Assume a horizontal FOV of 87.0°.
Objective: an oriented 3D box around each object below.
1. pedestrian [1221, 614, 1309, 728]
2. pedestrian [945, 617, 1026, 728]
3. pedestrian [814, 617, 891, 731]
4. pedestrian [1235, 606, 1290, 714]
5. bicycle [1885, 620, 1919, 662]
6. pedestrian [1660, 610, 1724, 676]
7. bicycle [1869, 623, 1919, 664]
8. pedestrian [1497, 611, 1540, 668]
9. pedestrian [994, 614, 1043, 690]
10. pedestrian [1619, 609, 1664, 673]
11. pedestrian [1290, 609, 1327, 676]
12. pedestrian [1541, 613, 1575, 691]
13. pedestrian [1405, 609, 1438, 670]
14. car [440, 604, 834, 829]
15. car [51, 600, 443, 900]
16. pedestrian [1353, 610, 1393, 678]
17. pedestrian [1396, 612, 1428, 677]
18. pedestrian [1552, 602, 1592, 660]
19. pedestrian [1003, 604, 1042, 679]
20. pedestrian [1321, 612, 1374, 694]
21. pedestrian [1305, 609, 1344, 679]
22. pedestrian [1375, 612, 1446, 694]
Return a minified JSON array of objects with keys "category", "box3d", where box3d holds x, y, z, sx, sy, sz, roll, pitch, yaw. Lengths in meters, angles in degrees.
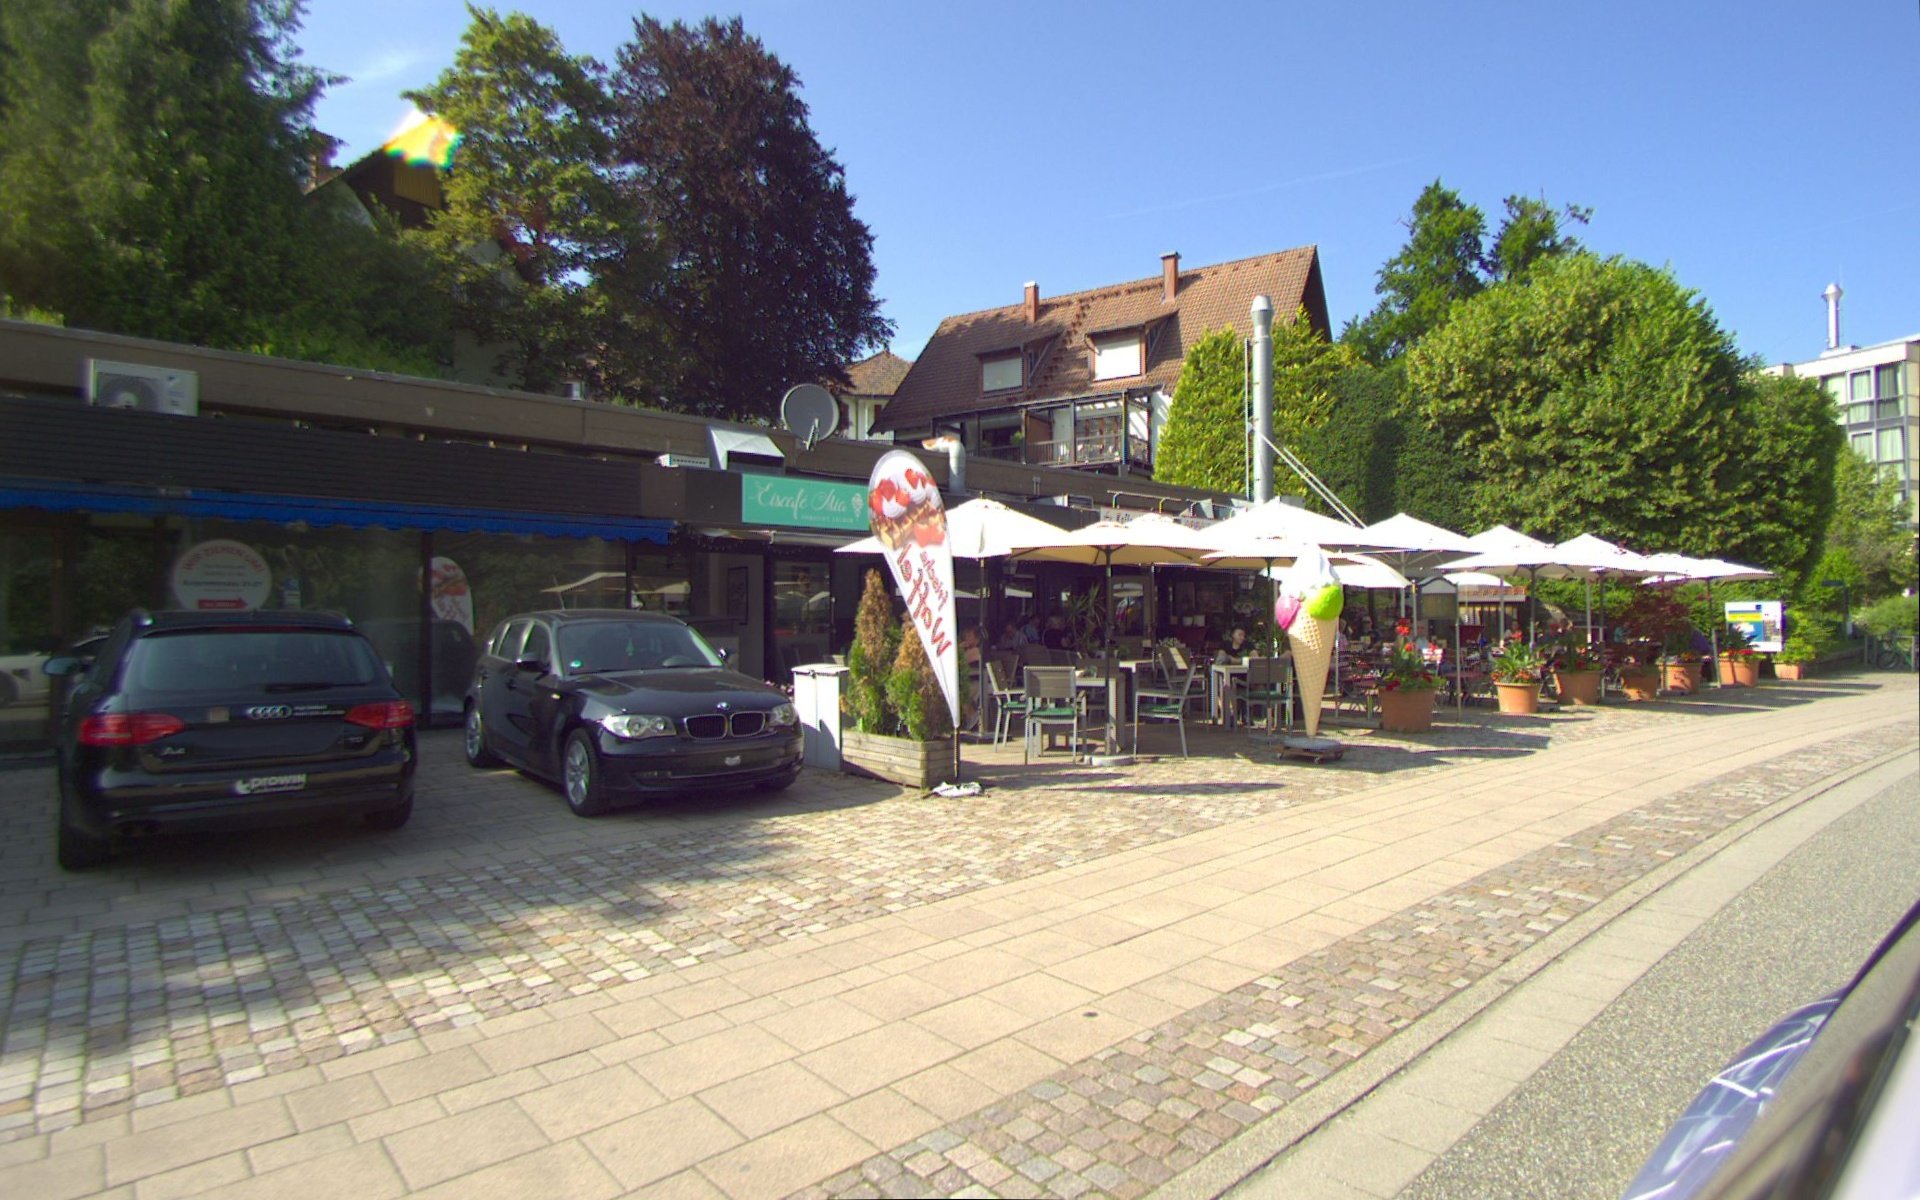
[{"category":"pedestrian","box3d":[3.649,0.818,12.101,0.808,1.277,0.690,0,-1,40]},{"category":"pedestrian","box3d":[0.296,0.850,12.213,0.795,1.277,0.702,1,-1,-15]},{"category":"pedestrian","box3d":[-1.274,0.847,11.920,0.795,1.277,0.702,1,-1,-15]},{"category":"pedestrian","box3d":[4.090,0.779,13.680,0.691,1.399,0.807,0,-1,18]},{"category":"bicycle","box3d":[23.879,1.035,25.047,0.376,0.995,1.550,1,1,-8]},{"category":"pedestrian","box3d":[14.968,0.864,20.691,0.634,1.300,0.949,1,0,-43]},{"category":"bicycle","box3d":[23.037,1.056,24.554,0.376,0.920,1.551,2,1,-8]},{"category":"pedestrian","box3d":[12.536,0.880,22.722,0.685,1.247,0.509,1,0,-22]},{"category":"pedestrian","box3d":[0.974,0.860,16.941,0.686,1.224,0.689,0,0,-10]},{"category":"pedestrian","box3d":[14.463,0.856,21.473,0.634,1.300,0.648,1,0,-43]},{"category":"pedestrian","box3d":[7.027,0.847,20.415,0.628,1.298,0.578,1,0,13]},{"category":"pedestrian","box3d":[10.089,0.864,17.076,0.470,1.261,0.586,1,1,33]},{"category":"pedestrian","box3d":[9.912,0.848,21.731,0.498,1.284,0.410,1,0,-31]},{"category":"car","box3d":[-2.936,0.738,8.544,1.679,1.396,4.270,0,0,-40]},{"category":"car","box3d":[-5.026,0.722,6.990,1.718,1.433,4.117,0,0,-40]},{"category":"pedestrian","box3d":[8.224,0.860,20.147,0.599,1.321,0.530,1,0,-44]},{"category":"pedestrian","box3d":[9.120,0.891,20.422,0.433,1.281,0.469,1,0,-45]},{"category":"pedestrian","box3d":[13.552,0.679,22.416,0.585,1.253,0.507,1,0,8]},{"category":"pedestrian","box3d":[1.121,0.734,18.263,0.625,1.316,0.688,0,0,-2]},{"category":"pedestrian","box3d":[6.344,0.849,16.595,0.690,1.277,0.809,0,0,13]},{"category":"pedestrian","box3d":[7.042,0.840,19.573,0.628,1.321,0.578,1,0,13]},{"category":"pedestrian","box3d":[7.300,0.844,16.413,0.686,1.277,0.814,1,0,-23]}]
